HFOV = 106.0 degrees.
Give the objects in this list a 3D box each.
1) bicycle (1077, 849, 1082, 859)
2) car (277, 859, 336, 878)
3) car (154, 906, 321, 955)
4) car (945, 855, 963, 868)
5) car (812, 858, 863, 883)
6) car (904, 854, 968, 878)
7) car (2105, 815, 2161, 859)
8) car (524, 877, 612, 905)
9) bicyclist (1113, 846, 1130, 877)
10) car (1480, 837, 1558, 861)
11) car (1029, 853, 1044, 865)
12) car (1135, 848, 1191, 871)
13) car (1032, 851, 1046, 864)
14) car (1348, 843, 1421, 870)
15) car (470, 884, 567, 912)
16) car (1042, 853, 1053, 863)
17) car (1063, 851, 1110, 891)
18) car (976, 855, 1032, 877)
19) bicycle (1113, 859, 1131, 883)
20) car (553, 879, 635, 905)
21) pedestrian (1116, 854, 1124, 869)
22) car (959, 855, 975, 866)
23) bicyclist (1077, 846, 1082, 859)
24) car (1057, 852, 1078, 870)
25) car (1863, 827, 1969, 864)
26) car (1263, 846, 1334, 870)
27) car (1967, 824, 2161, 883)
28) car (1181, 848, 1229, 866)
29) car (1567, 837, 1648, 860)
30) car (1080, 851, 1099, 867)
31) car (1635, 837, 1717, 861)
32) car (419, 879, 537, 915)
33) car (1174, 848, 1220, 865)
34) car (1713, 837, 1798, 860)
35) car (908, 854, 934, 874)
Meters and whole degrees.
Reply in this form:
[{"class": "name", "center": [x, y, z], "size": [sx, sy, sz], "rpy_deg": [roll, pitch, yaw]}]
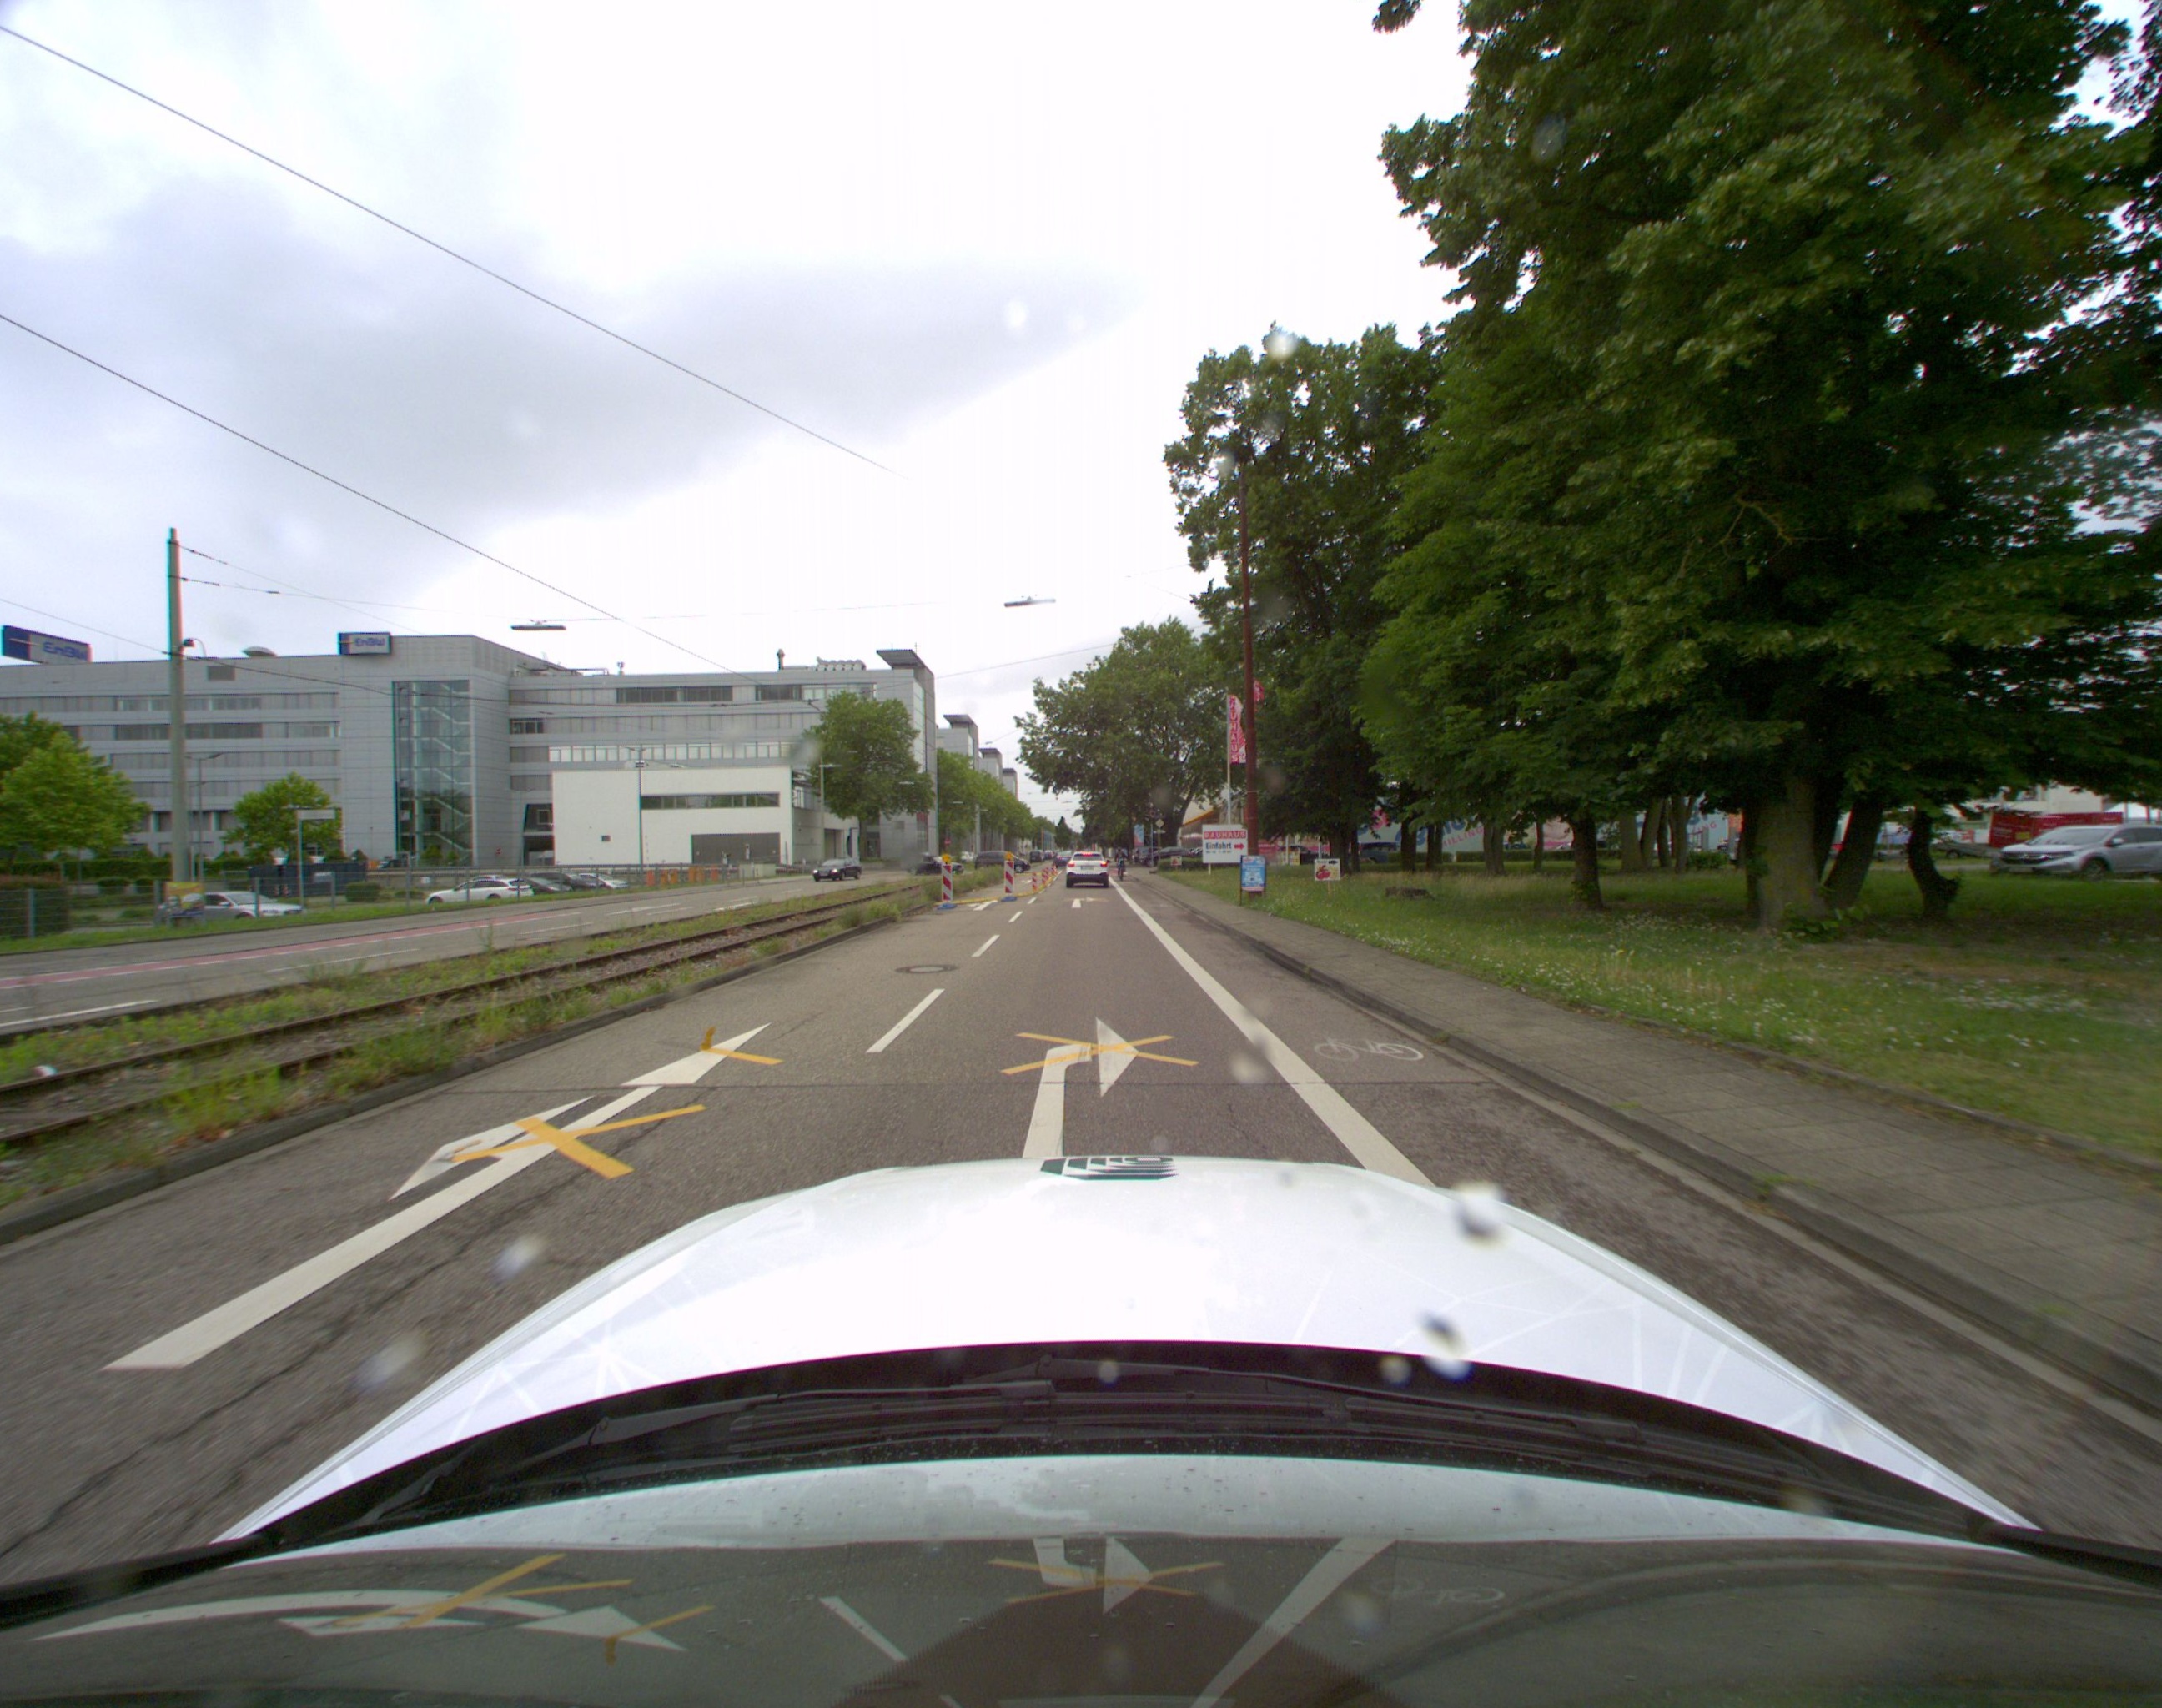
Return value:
[{"class": "bicycle", "center": [-0.196, 0.003, 108.971], "size": [0.669, 1.394, 2.165], "rpy_deg": [0, 0, -3]}, {"class": "car", "center": [-86.887, 1.603, 91.443], "size": [1.987, 2.013, 4.651], "rpy_deg": [-2, 0, 1]}, {"class": "car", "center": [-31.207, 2.820, 30.214], "size": [4.196, 1.532, 1.913], "rpy_deg": [-2, 0, 1]}, {"class": "car", "center": [-17.371, 0.984, 111.434], "size": [1.872, 1.632, 3.998], "rpy_deg": [-2, 0, -1]}, {"class": "car", "center": [-15.287, 1.006, 51.359], "size": [1.813, 1.472, 4.427], "rpy_deg": [-2, 0, 1]}, {"class": "car", "center": [-10.314, 0.855, 57.993], "size": [4.080, 1.475, 1.835], "rpy_deg": [-3, -2, 22]}, {"class": "car", "center": [44.081, -0.721, 32.308], "size": [4.546, 1.677, 2.151], "rpy_deg": [-2, 0, -5]}, {"class": "car", "center": [-30.872, 2.206, 49.070], "size": [3.978, 1.485, 1.911], "rpy_deg": [-2, 0, -3]}, {"class": "bicyclist", "center": [2.140, 0.393, 43.212], "size": [0.814, 1.630, 1.235], "rpy_deg": [-2, 0, 0]}, {"class": "car", "center": [31.809, -0.359, 59.230], "size": [4.539, 1.572, 2.073], "rpy_deg": [-2, 0, -1]}, {"class": "car", "center": [-6.220, 0.640, 113.339], "size": [1.872, 1.632, 3.998], "rpy_deg": [-2, 0, -1]}, {"class": "car", "center": [6.623, 0.433, 65.881], "size": [4.300, 1.677, 1.992], "rpy_deg": [-2, 0, 0]}, {"class": "car", "center": [-6.152, 0.511, 119.156], "size": [1.872, 1.763, 3.998], "rpy_deg": [-2, 0, -1]}, {"class": "car", "center": [21.985, 0.152, 59.120], "size": [4.539, 1.790, 2.073], "rpy_deg": [-1, 1, -1]}, {"class": "car", "center": [-31.264, 2.420, 45.353], "size": [3.978, 1.314, 1.911], "rpy_deg": [-2, 0, -3]}, {"class": "car", "center": [-6.066, 0.671, 147.555], "size": [1.872, 1.763, 3.998], "rpy_deg": [-2, 0, -1]}, {"class": "car", "center": [0.178, 0.671, 35.004], "size": [1.819, 1.600, 3.772], "rpy_deg": [0, 0, -3]}, {"class": "car", "center": [-5.518, 0.870, 58.613], "size": [3.871, 1.556, 1.825], "rpy_deg": [1, 0, -1]}, {"class": "bicycle", "center": [2.155, 0.867, 43.213], "size": [0.814, 1.212, 2.683], "rpy_deg": [-2, 0, 0]}, {"class": "car", "center": [-31.016, 2.396, 51.938], "size": [3.978, 1.485, 1.911], "rpy_deg": [-2, 0, -3]}, {"class": "pedestrian", "center": [4.231, 0.818, 89.209], "size": [0.759, 1.705, 0.680], "rpy_deg": [-2, 0, -5]}, {"class": "car", "center": [-17.288, 0.995, 123.623], "size": [1.872, 1.632, 4.203], "rpy_deg": [-2, 0, -1]}, {"class": "bicyclist", "center": [-0.196, -0.196, 109.165], "size": [0.669, 1.815, 0.759], "rpy_deg": [0, 0, -3]}, {"class": "car", "center": [-1.199, 0.603, 71.724], "size": [1.680, 1.513, 3.702], "rpy_deg": [0, 0, -3]}, {"class": "car", "center": [61.401, -0.613, 59.960], "size": [5.725, 2.537, 2.073], "rpy_deg": [-2, 0, -1]}, {"class": "car", "center": [15.575, 0.299, 58.506], "size": [4.539, 1.572, 1.992], "rpy_deg": [-2, 0, -1]}, {"class": "car", "center": [26.961, 0.005, 21.863], "size": [4.522, 1.497, 1.957], "rpy_deg": [1, 0, -5]}, {"class": "car", "center": [11.888, 0.299, 78.246], "size": [4.203, 1.551, 1.788], "rpy_deg": [-2, 0, -3]}, {"class": "car", "center": [38.372, -0.388, 59.423], "size": [4.539, 1.572, 2.073], "rpy_deg": [-2, 0, -1]}, {"class": "car", "center": [0.932, 0.488, 89.202], "size": [1.872, 1.632, 3.998], "rpy_deg": [-2, 0, -1]}, {"class": "car", "center": [43.436, -0.358, 59.518], "size": [4.539, 1.572, 2.073], "rpy_deg": [-2, 0, -1]}, {"class": "car", "center": [-31.084, 2.207, 42.078], "size": [4.516, 1.634, 1.911], "rpy_deg": [-2, 0, -3]}, {"class": "car", "center": [11.464, 0.204, 80.387], "size": [4.203, 1.551, 1.788], "rpy_deg": [-2, 0, -3]}, {"class": "car", "center": [49.258, -0.399, 59.537], "size": [4.539, 1.572, 2.073], "rpy_deg": [-2, 0, -1]}, {"class": "car", "center": [-15.451, 0.965, 78.991], "size": [1.815, 1.783, 4.421], "rpy_deg": [-2, 0, -3]}]
